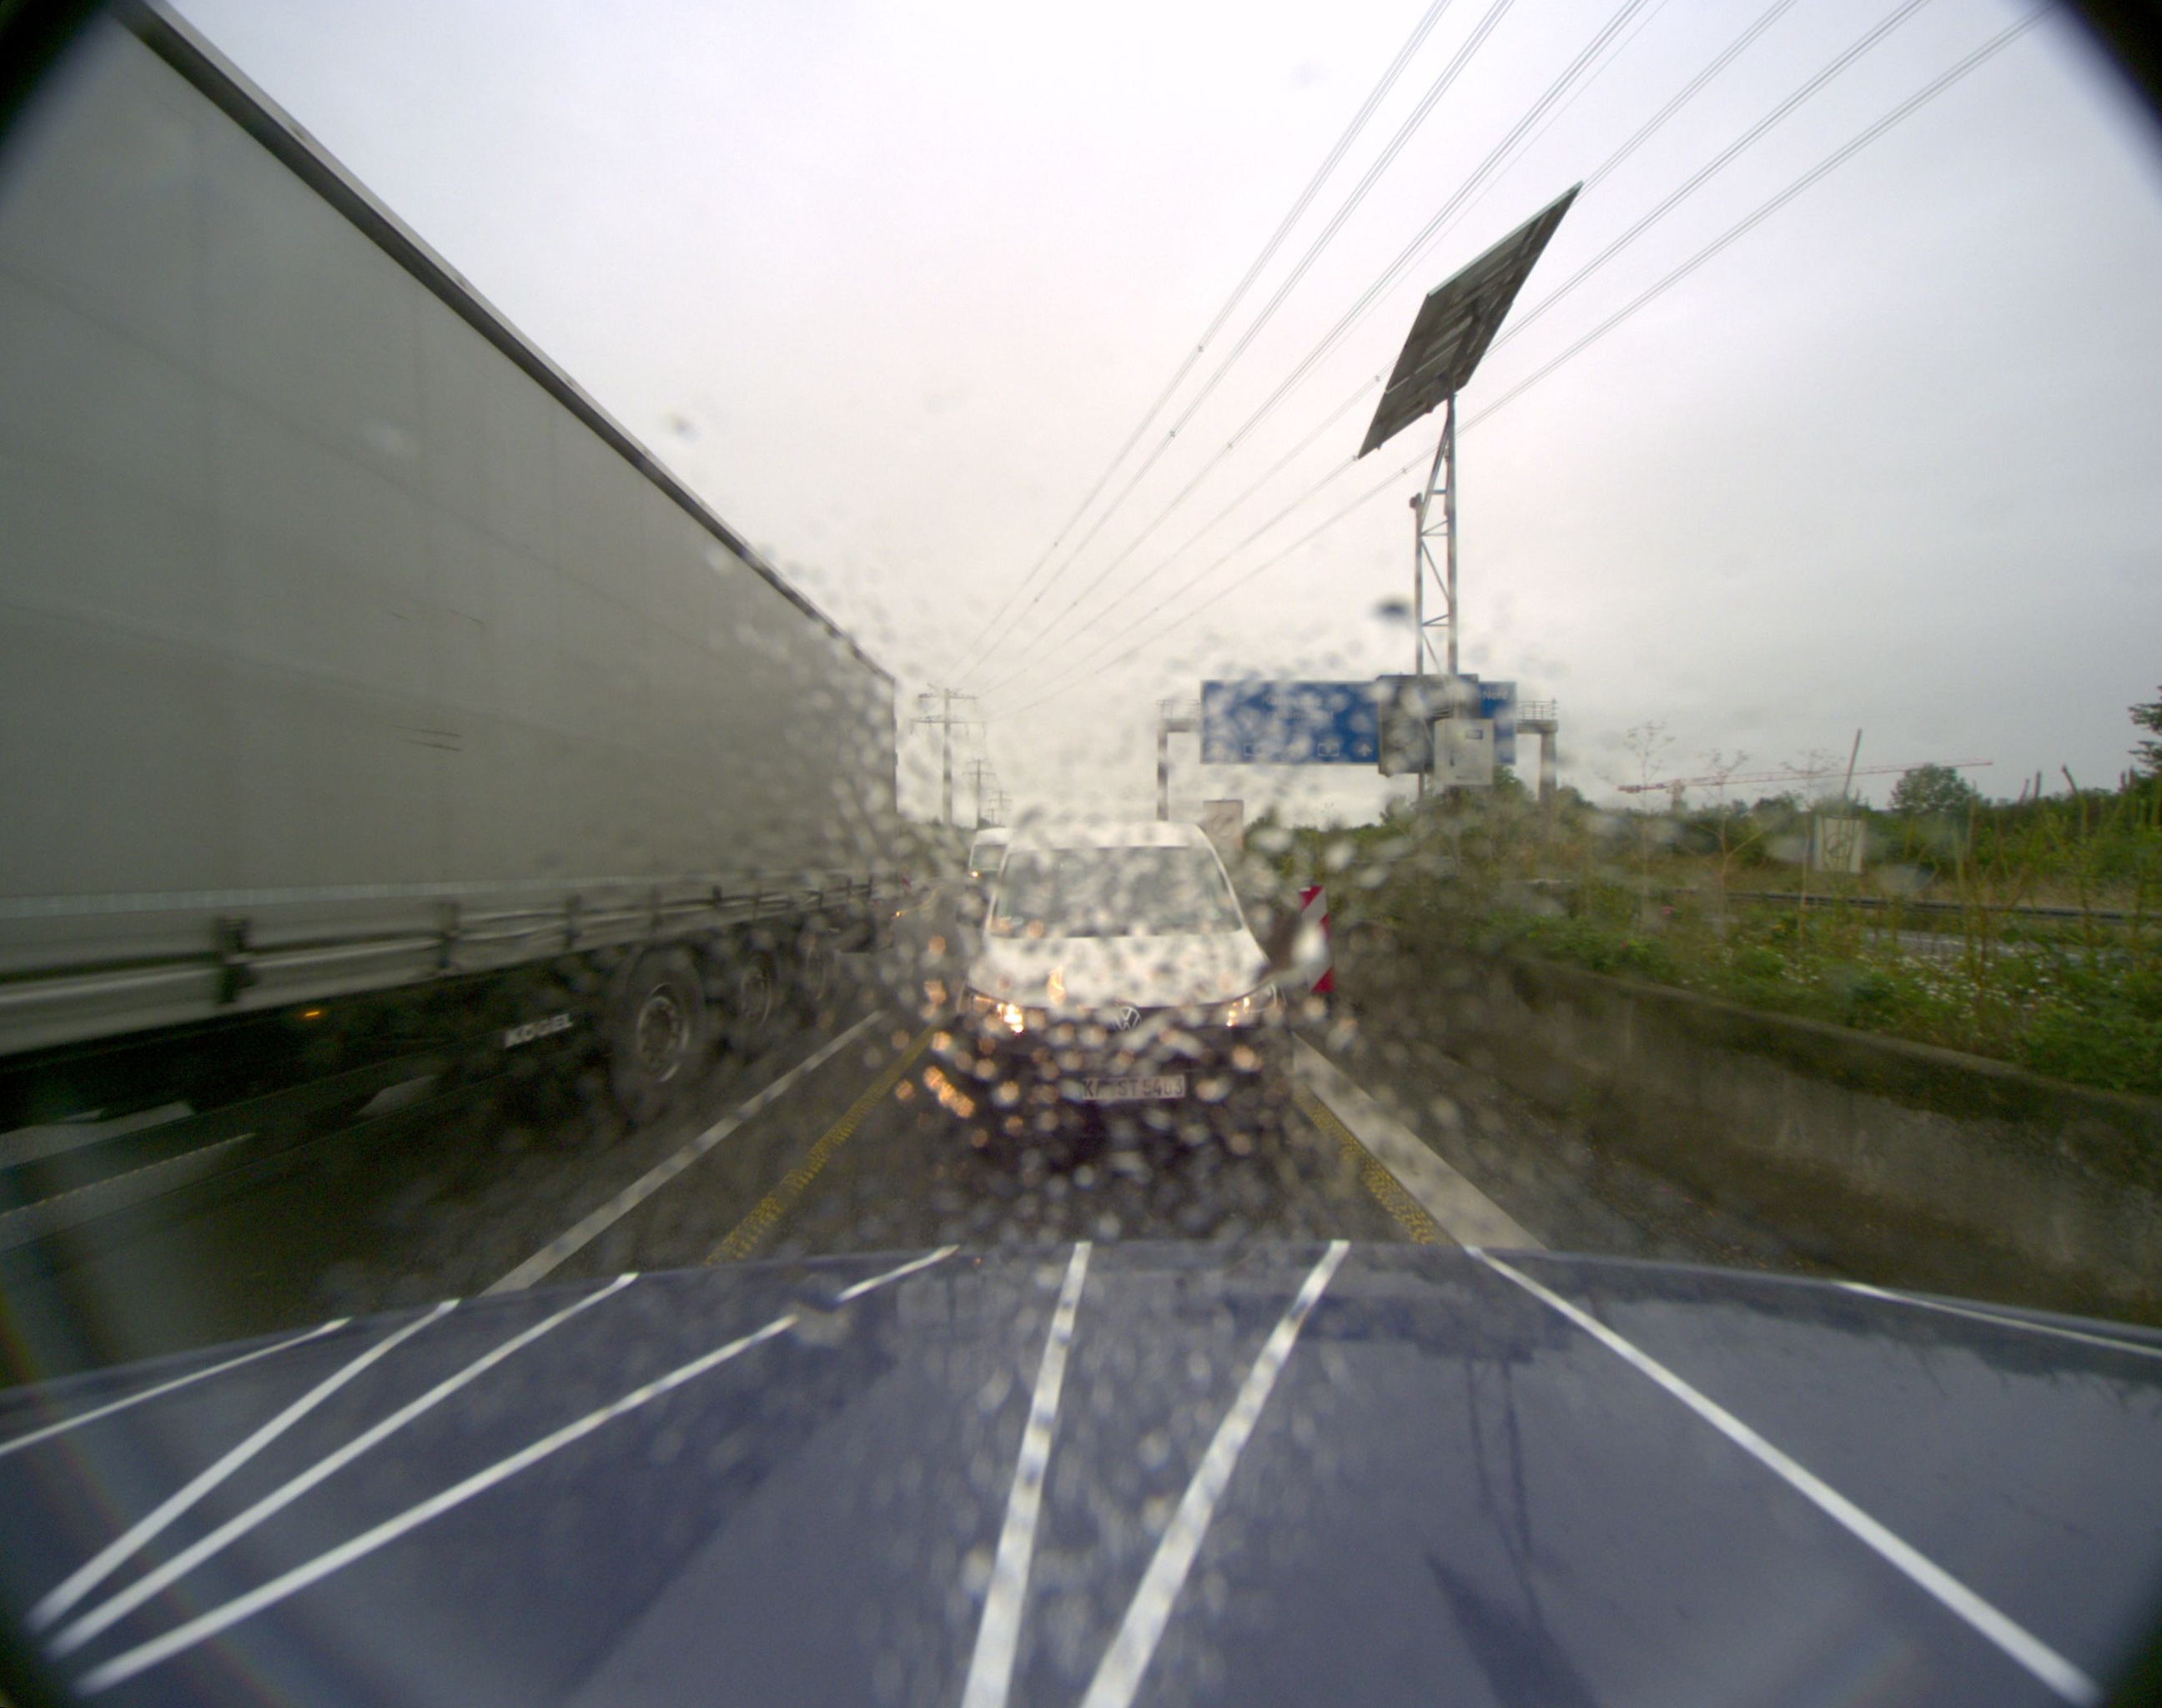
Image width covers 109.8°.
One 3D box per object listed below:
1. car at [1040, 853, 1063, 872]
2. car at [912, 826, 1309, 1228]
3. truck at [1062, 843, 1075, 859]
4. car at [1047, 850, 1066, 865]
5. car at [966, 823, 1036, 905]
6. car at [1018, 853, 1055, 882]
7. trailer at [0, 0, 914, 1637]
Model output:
[{"bbox_3d":[-2.455,0.688,64.013,1.804,1.523,4.149,-1,0,-1],"label":"car"},{"bbox_3d":[0.164,0.789,5.642,1.768,1.803,4.345,-1,0,1],"label":"car"},{"bbox_3d":[-3.244,-0.822,194.877,2.875,4.007,8.309,-1,0,1],"label":"truck"},{"bbox_3d":[-2.532,0.347,79.517,1.804,1.432,4.149,-1,0,-1],"label":"car"},{"bbox_3d":[-2.924,0.326,28.904,1.998,2.766,5.756,-1,0,0],"label":"car"},{"bbox_3d":[-2.633,0.768,45.756,1.688,1.649,4.281,-1,0,3],"label":"car"},{"bbox_3d":[-3.775,-0.299,3.467,2.713,4.122,13.731,-1,0,1],"label":"trailer"}]
